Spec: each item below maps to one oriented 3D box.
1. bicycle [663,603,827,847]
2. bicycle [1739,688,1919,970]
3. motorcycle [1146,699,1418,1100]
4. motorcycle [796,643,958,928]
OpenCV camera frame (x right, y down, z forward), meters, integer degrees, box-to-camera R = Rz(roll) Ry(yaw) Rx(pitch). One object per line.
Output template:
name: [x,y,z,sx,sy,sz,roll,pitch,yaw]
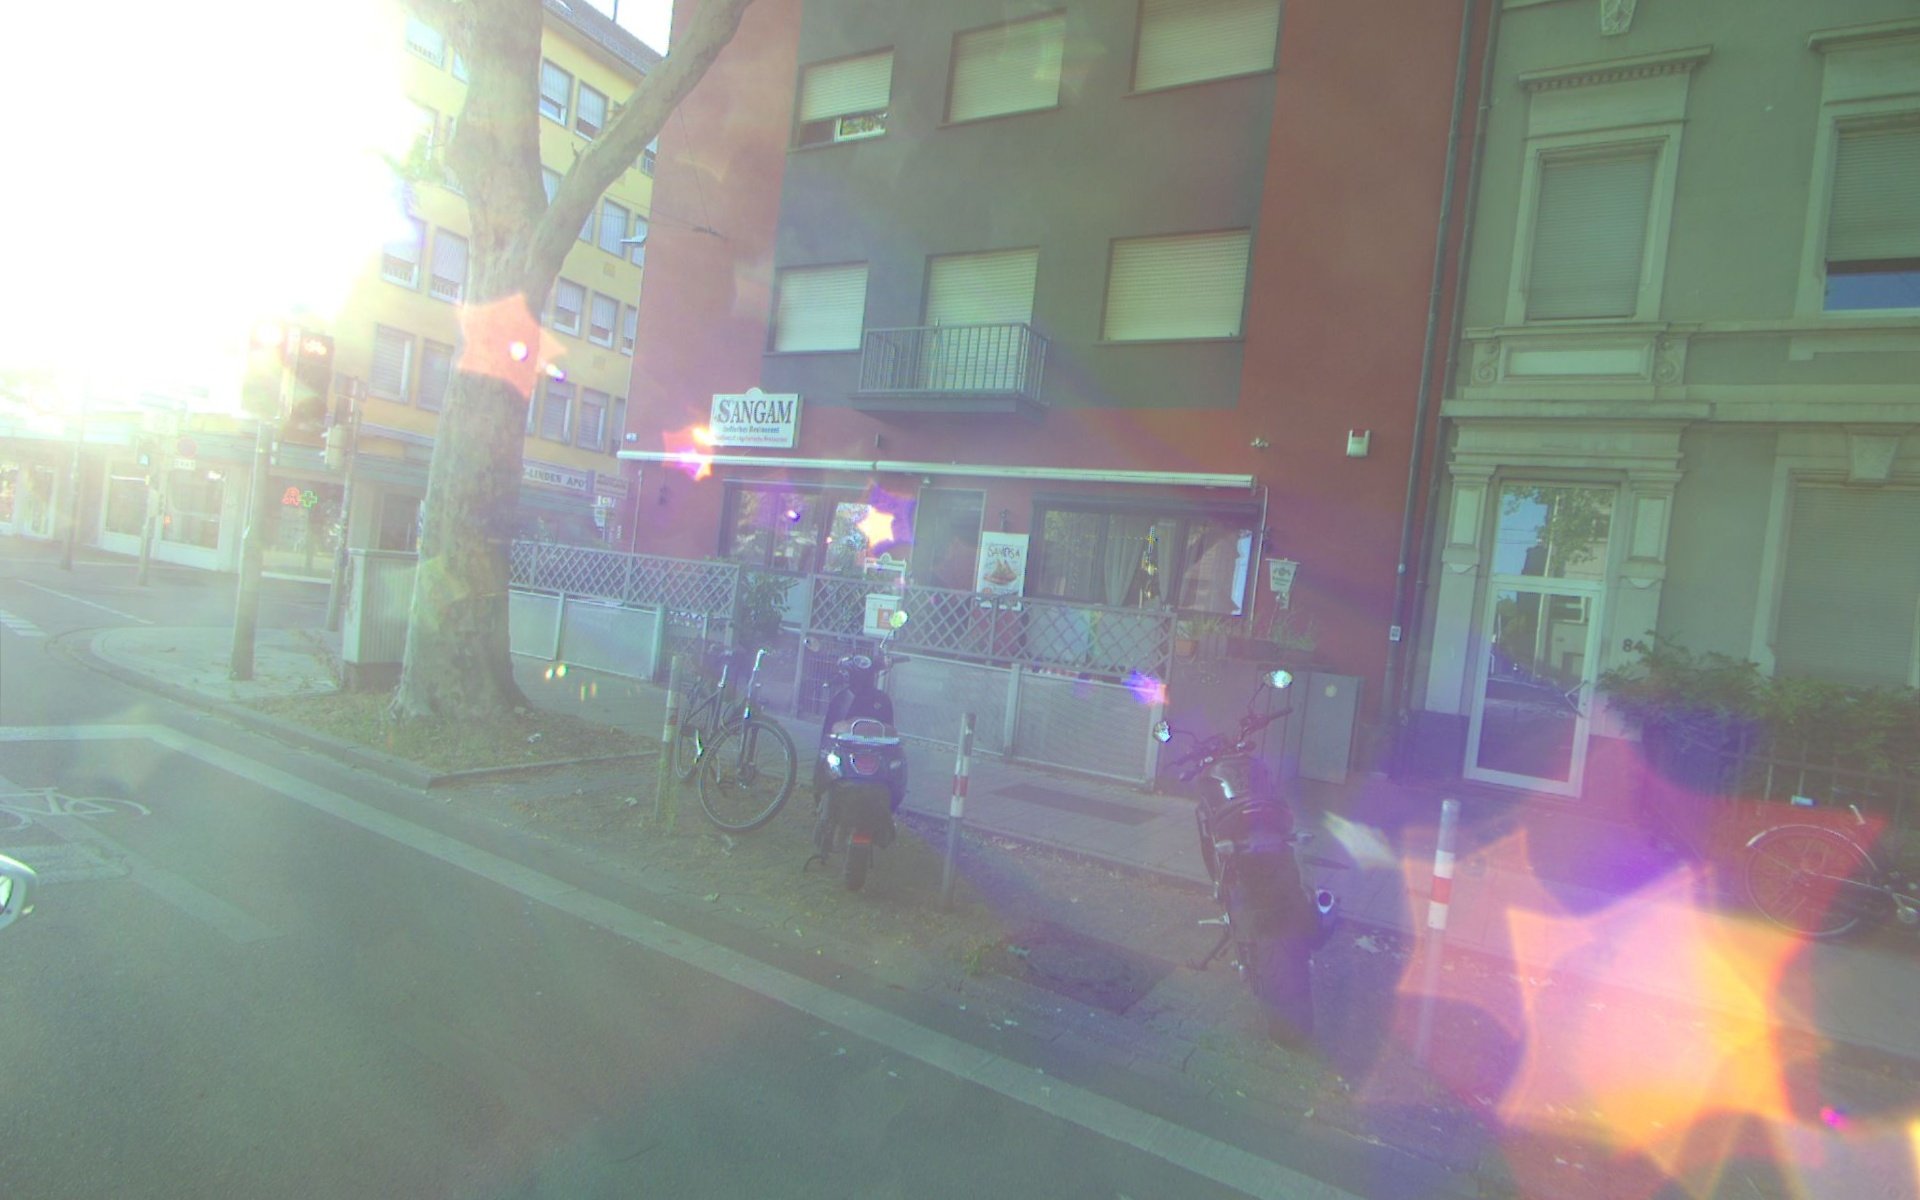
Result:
bicycle: [-1.491,0.740,6.676,0.686,1.219,1.837,8,2,-20]
bicycle: [5.866,1.373,5.502,2.356,1.443,0.608,6,-1,32]
motorcycle: [1.318,1.150,4.615,0.752,1.077,2.212,7,2,9]
motorcycle: [-0.542,0.914,5.650,0.591,1.166,1.994,6,0,-10]
